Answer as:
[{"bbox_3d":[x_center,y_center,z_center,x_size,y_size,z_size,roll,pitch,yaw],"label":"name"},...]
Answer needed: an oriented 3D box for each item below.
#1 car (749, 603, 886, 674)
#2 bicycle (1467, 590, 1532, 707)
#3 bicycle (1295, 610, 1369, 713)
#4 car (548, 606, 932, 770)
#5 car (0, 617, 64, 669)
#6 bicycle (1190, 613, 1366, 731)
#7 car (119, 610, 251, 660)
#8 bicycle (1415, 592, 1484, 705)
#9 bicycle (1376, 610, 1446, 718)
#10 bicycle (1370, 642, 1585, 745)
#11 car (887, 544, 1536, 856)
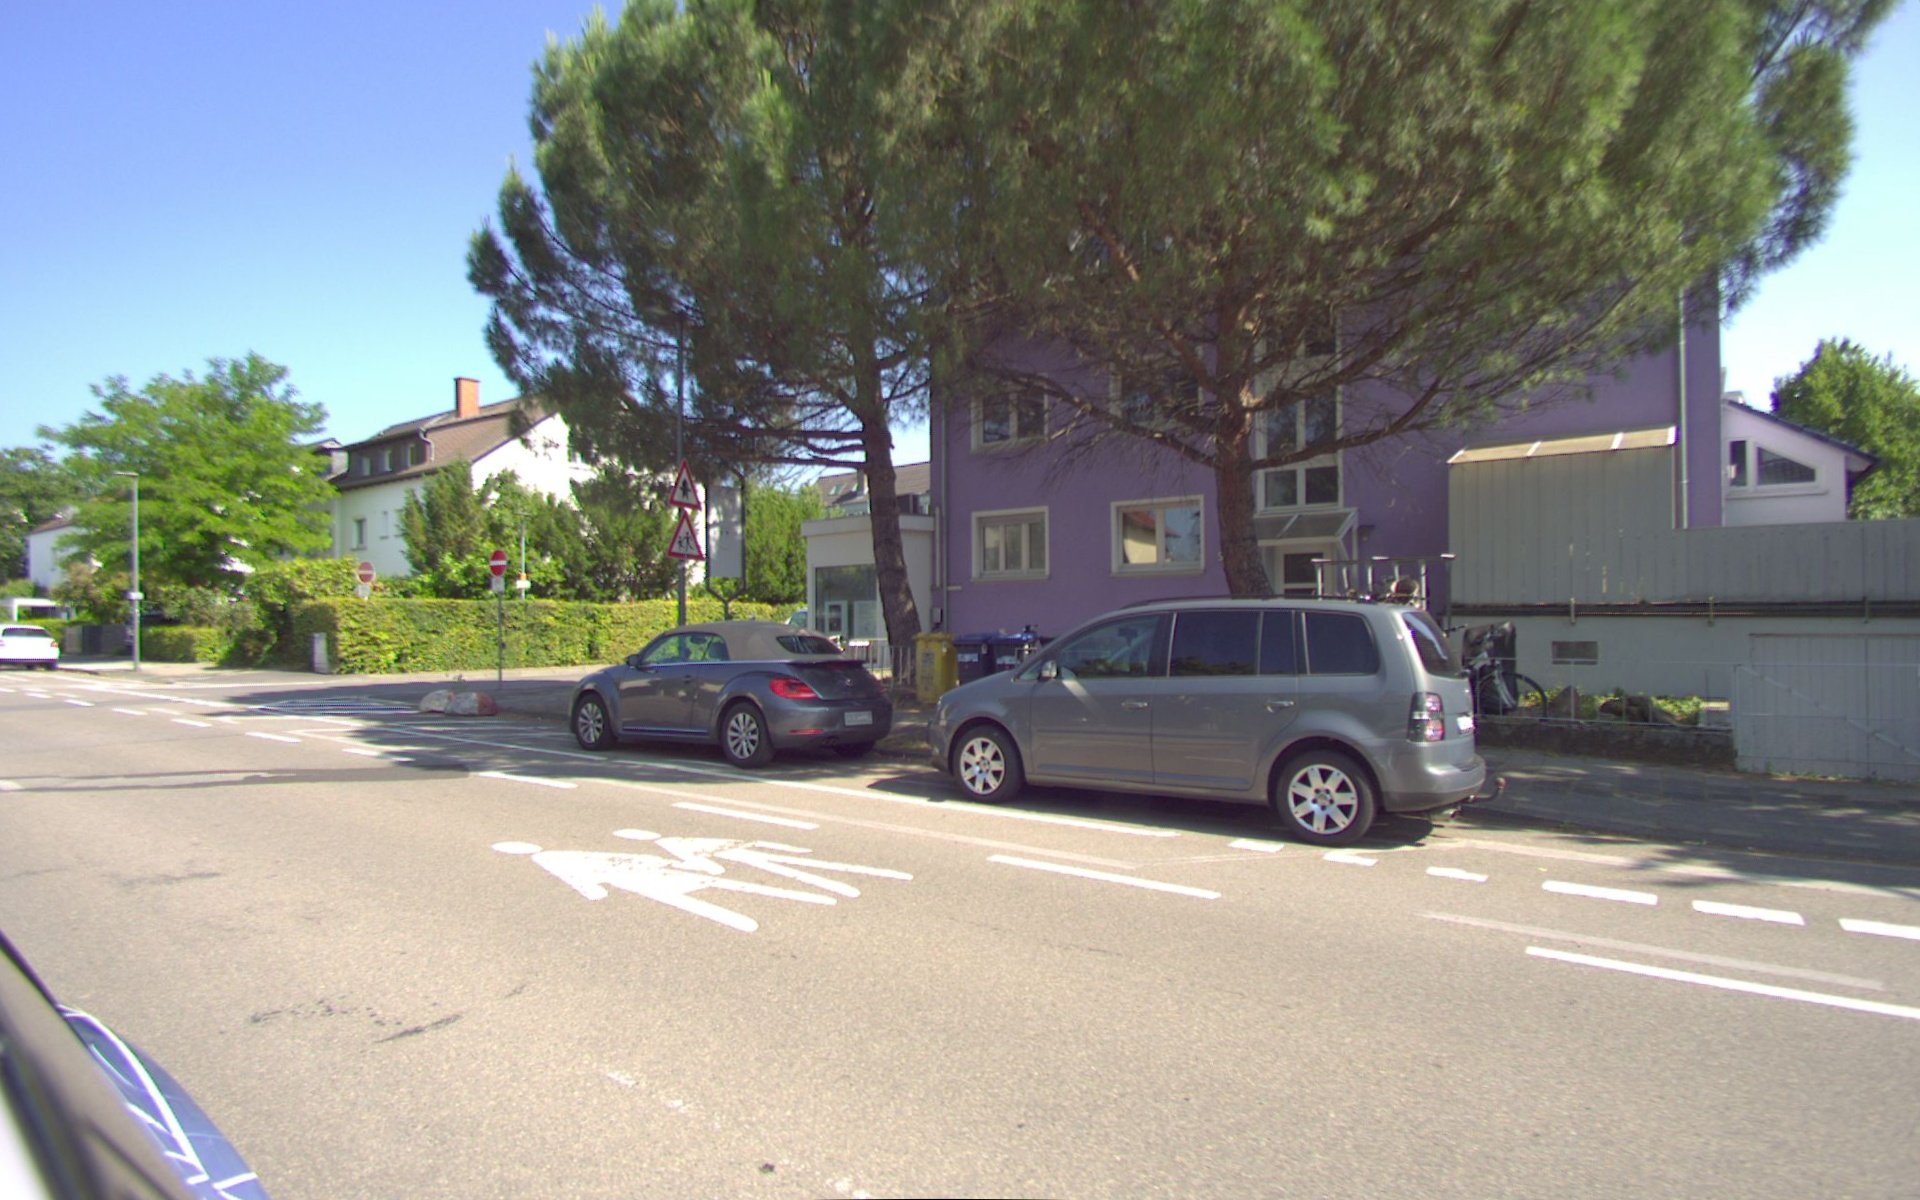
[{"bbox_3d":[-4.340,1.180,31.307,1.998,2.029,3.948,-2,-3,38],"label":"car"},{"bbox_3d":[7.037,0.611,13.158,0.502,1.394,2.153,-2,-3,34],"label":"bicycle"},{"bbox_3d":[5.471,0.872,14.803,0.501,1.394,2.153,-2,-3,34],"label":"bicycle"},{"bbox_3d":[-2.496,0.867,11.057,4.186,1.468,1.824,-2,-3,37],"label":"car"},{"bbox_3d":[-30.176,1.341,32.085,3.994,1.564,1.935,-1,-1,38],"label":"car"},{"bbox_3d":[3.642,0.792,11.717,1.912,1.276,0.453,-1,-1,39],"label":"bicycle"},{"bbox_3d":[-30.411,1.371,39.763,3.939,1.830,2.002,2,-3,-43],"label":"car"},{"bbox_3d":[6.563,0.634,13.514,0.502,1.394,2.153,-2,-3,34],"label":"bicycle"},{"bbox_3d":[6.310,0.861,14.112,0.502,1.394,2.153,-2,-3,34],"label":"bicycle"},{"bbox_3d":[5.306,0.926,10.462,1.911,0.961,0.453,-1,-1,38],"label":"bicycle"},{"bbox_3d":[1.748,0.648,7.904,4.577,1.778,1.824,-2,-3,37],"label":"car"}]
